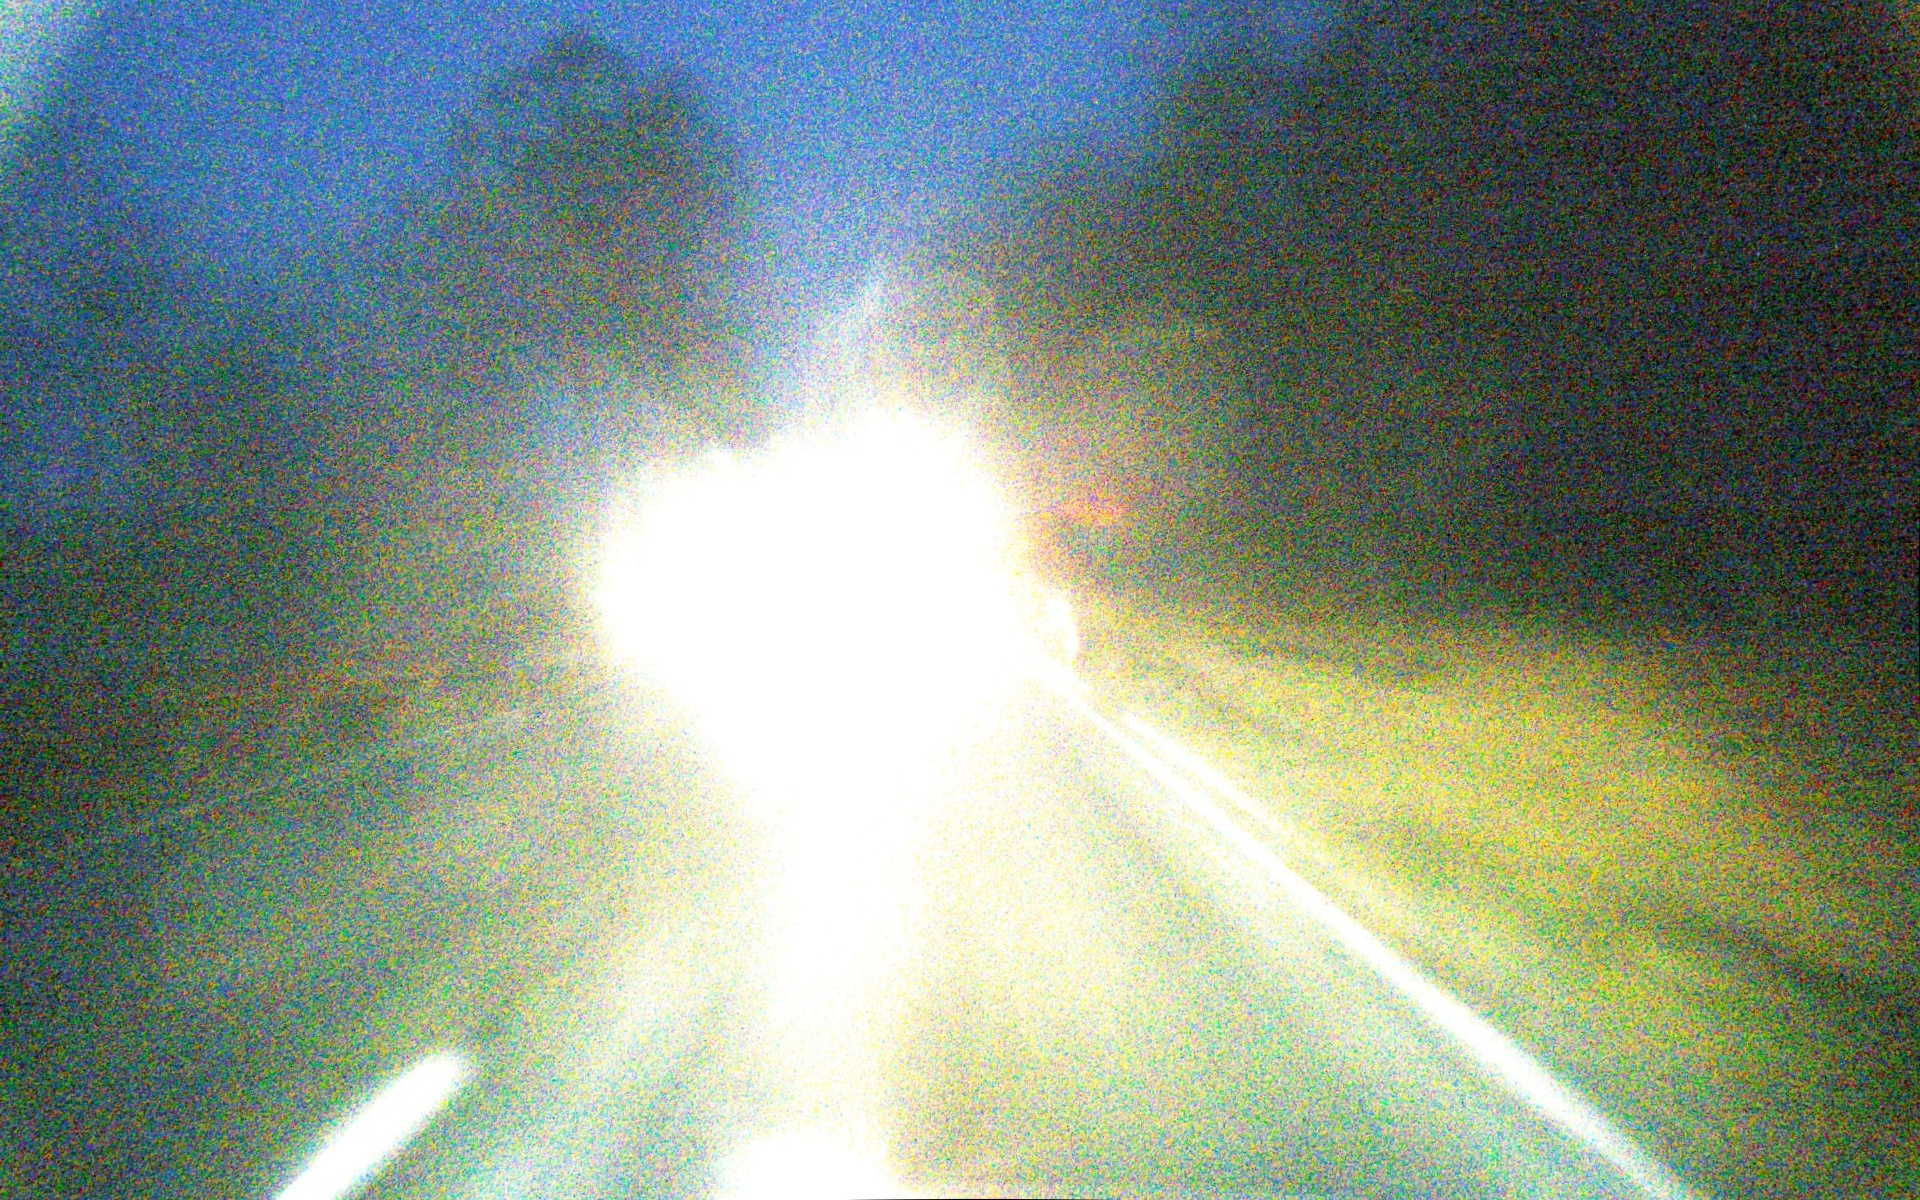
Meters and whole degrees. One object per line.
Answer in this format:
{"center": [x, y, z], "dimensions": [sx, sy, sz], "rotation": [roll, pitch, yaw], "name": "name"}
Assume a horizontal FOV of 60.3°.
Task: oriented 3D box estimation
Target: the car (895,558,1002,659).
{"center": [-0.204, 0.102, 32.312], "dimensions": [1.953, 1.838, 3.918], "rotation": [0, 1, 0], "name": "car"}
